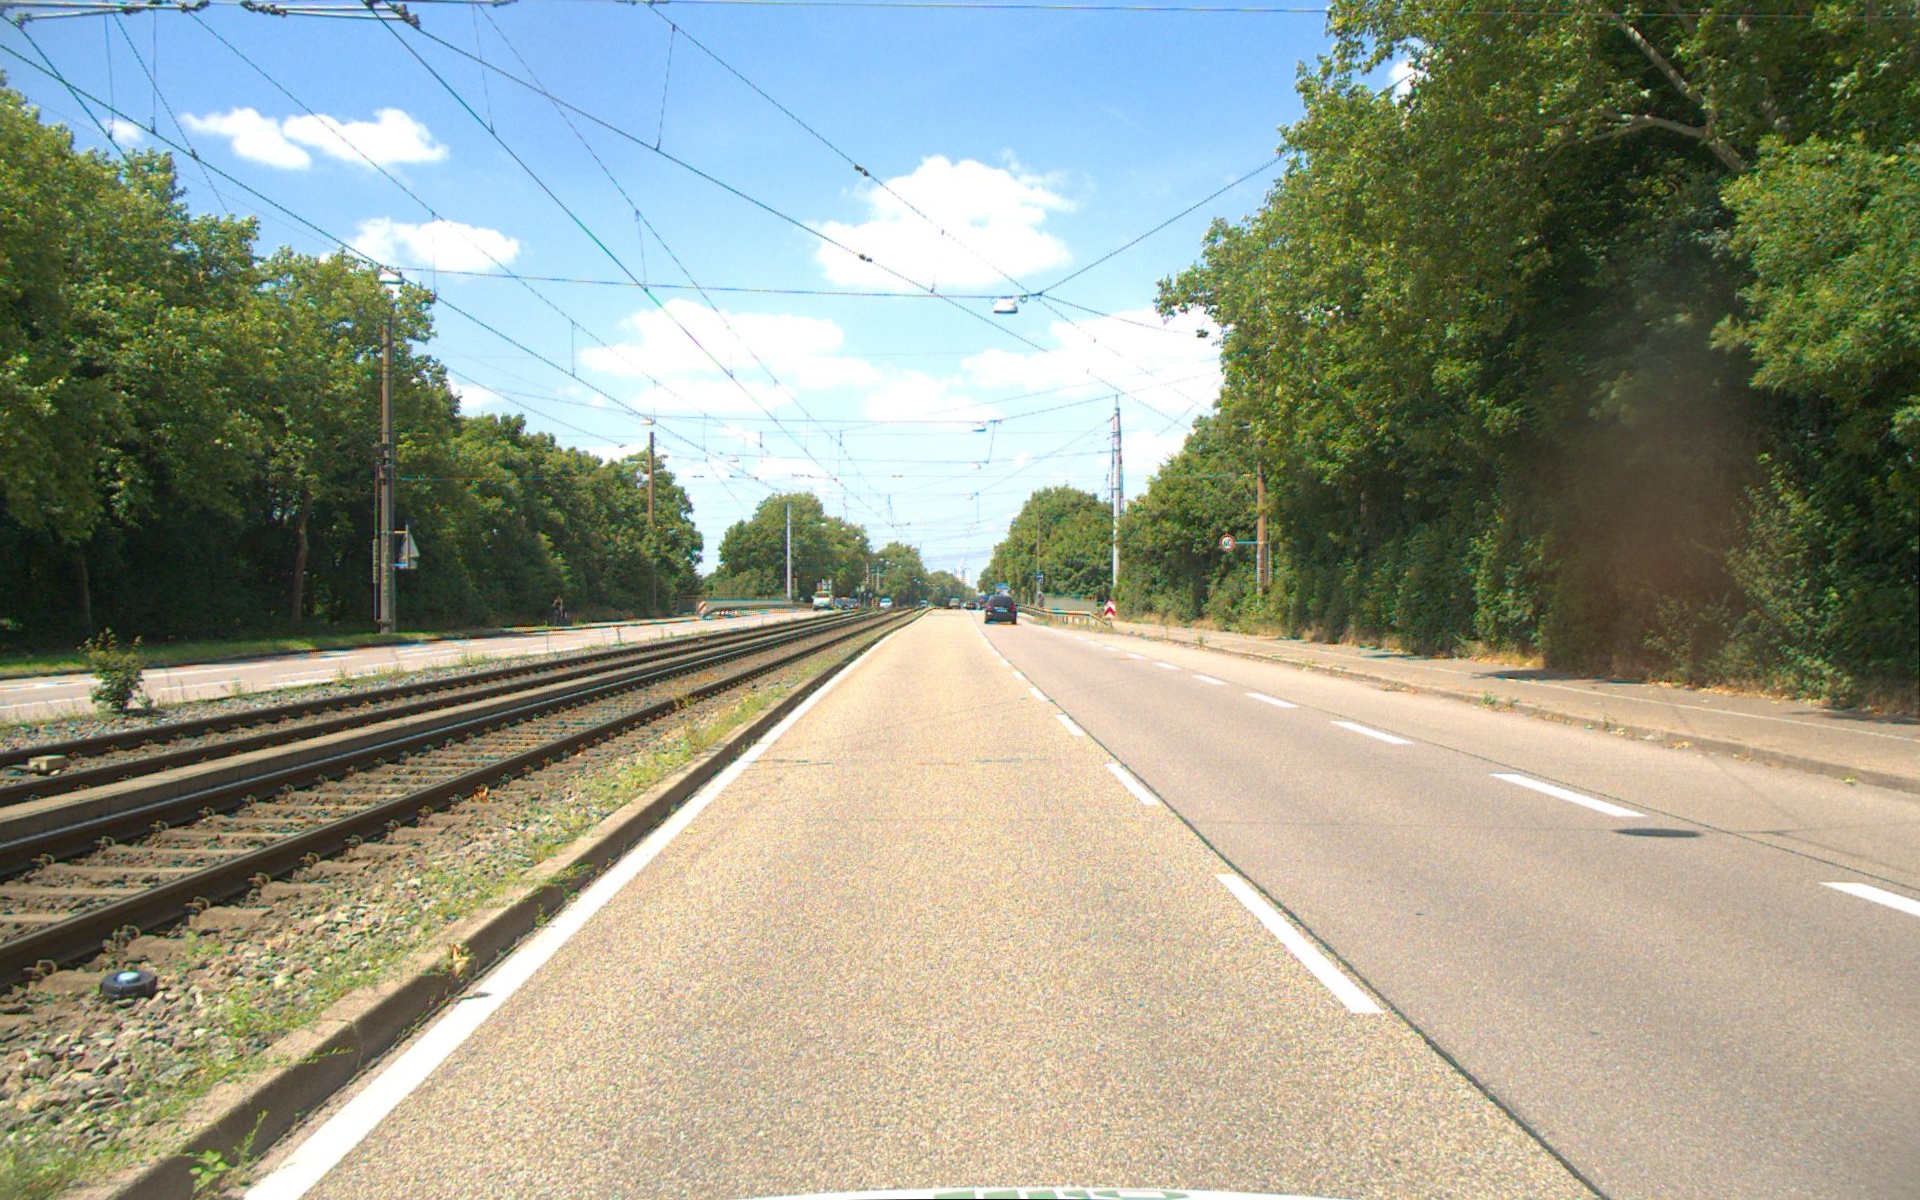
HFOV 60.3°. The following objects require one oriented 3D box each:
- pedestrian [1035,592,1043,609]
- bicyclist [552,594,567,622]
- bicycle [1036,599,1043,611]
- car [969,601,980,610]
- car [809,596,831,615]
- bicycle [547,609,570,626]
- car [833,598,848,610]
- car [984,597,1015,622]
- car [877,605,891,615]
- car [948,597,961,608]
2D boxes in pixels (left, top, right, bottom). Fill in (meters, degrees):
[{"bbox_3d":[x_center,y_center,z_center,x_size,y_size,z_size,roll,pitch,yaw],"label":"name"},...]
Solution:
[{"bbox_3d":[6.905,0.046,144.319,0.615,1.398,1.050,0,-1,0],"label":"pedestrian"},{"bbox_3d":[-20.844,0.415,86.025,0.557,1.391,0.631,2,-1,1],"label":"bicyclist"},{"bbox_3d":[6.908,0.428,144.353,0.548,1.042,1.848,0,-1,0],"label":"bicycle"},{"bbox_3d":[1.901,0.726,214.318,1.402,1.048,3.370,1,0,-1],"label":"car"},{"bbox_3d":[-14.258,0.568,168.810,1.774,1.959,5.178,-1,0,0],"label":"car"},{"bbox_3d":[-20.869,0.911,85.996,0.574,0.833,2.069,-1,0,2],"label":"bicycle"},{"bbox_3d":[-14.331,0.500,198.525,1.531,1.371,3.928,-1,0,0],"label":"car"},{"bbox_3d":[2.141,0.518,91.159,1.554,1.366,3.271,0,0,-2],"label":"car"},{"bbox_3d":[-11.208,1.419,244.174,1.676,1.445,4.624,-1,0,0],"label":"car"},{"bbox_3d":[-0.863,0.424,258.692,1.953,1.557,3.999,1,0,-1],"label":"car"}]
